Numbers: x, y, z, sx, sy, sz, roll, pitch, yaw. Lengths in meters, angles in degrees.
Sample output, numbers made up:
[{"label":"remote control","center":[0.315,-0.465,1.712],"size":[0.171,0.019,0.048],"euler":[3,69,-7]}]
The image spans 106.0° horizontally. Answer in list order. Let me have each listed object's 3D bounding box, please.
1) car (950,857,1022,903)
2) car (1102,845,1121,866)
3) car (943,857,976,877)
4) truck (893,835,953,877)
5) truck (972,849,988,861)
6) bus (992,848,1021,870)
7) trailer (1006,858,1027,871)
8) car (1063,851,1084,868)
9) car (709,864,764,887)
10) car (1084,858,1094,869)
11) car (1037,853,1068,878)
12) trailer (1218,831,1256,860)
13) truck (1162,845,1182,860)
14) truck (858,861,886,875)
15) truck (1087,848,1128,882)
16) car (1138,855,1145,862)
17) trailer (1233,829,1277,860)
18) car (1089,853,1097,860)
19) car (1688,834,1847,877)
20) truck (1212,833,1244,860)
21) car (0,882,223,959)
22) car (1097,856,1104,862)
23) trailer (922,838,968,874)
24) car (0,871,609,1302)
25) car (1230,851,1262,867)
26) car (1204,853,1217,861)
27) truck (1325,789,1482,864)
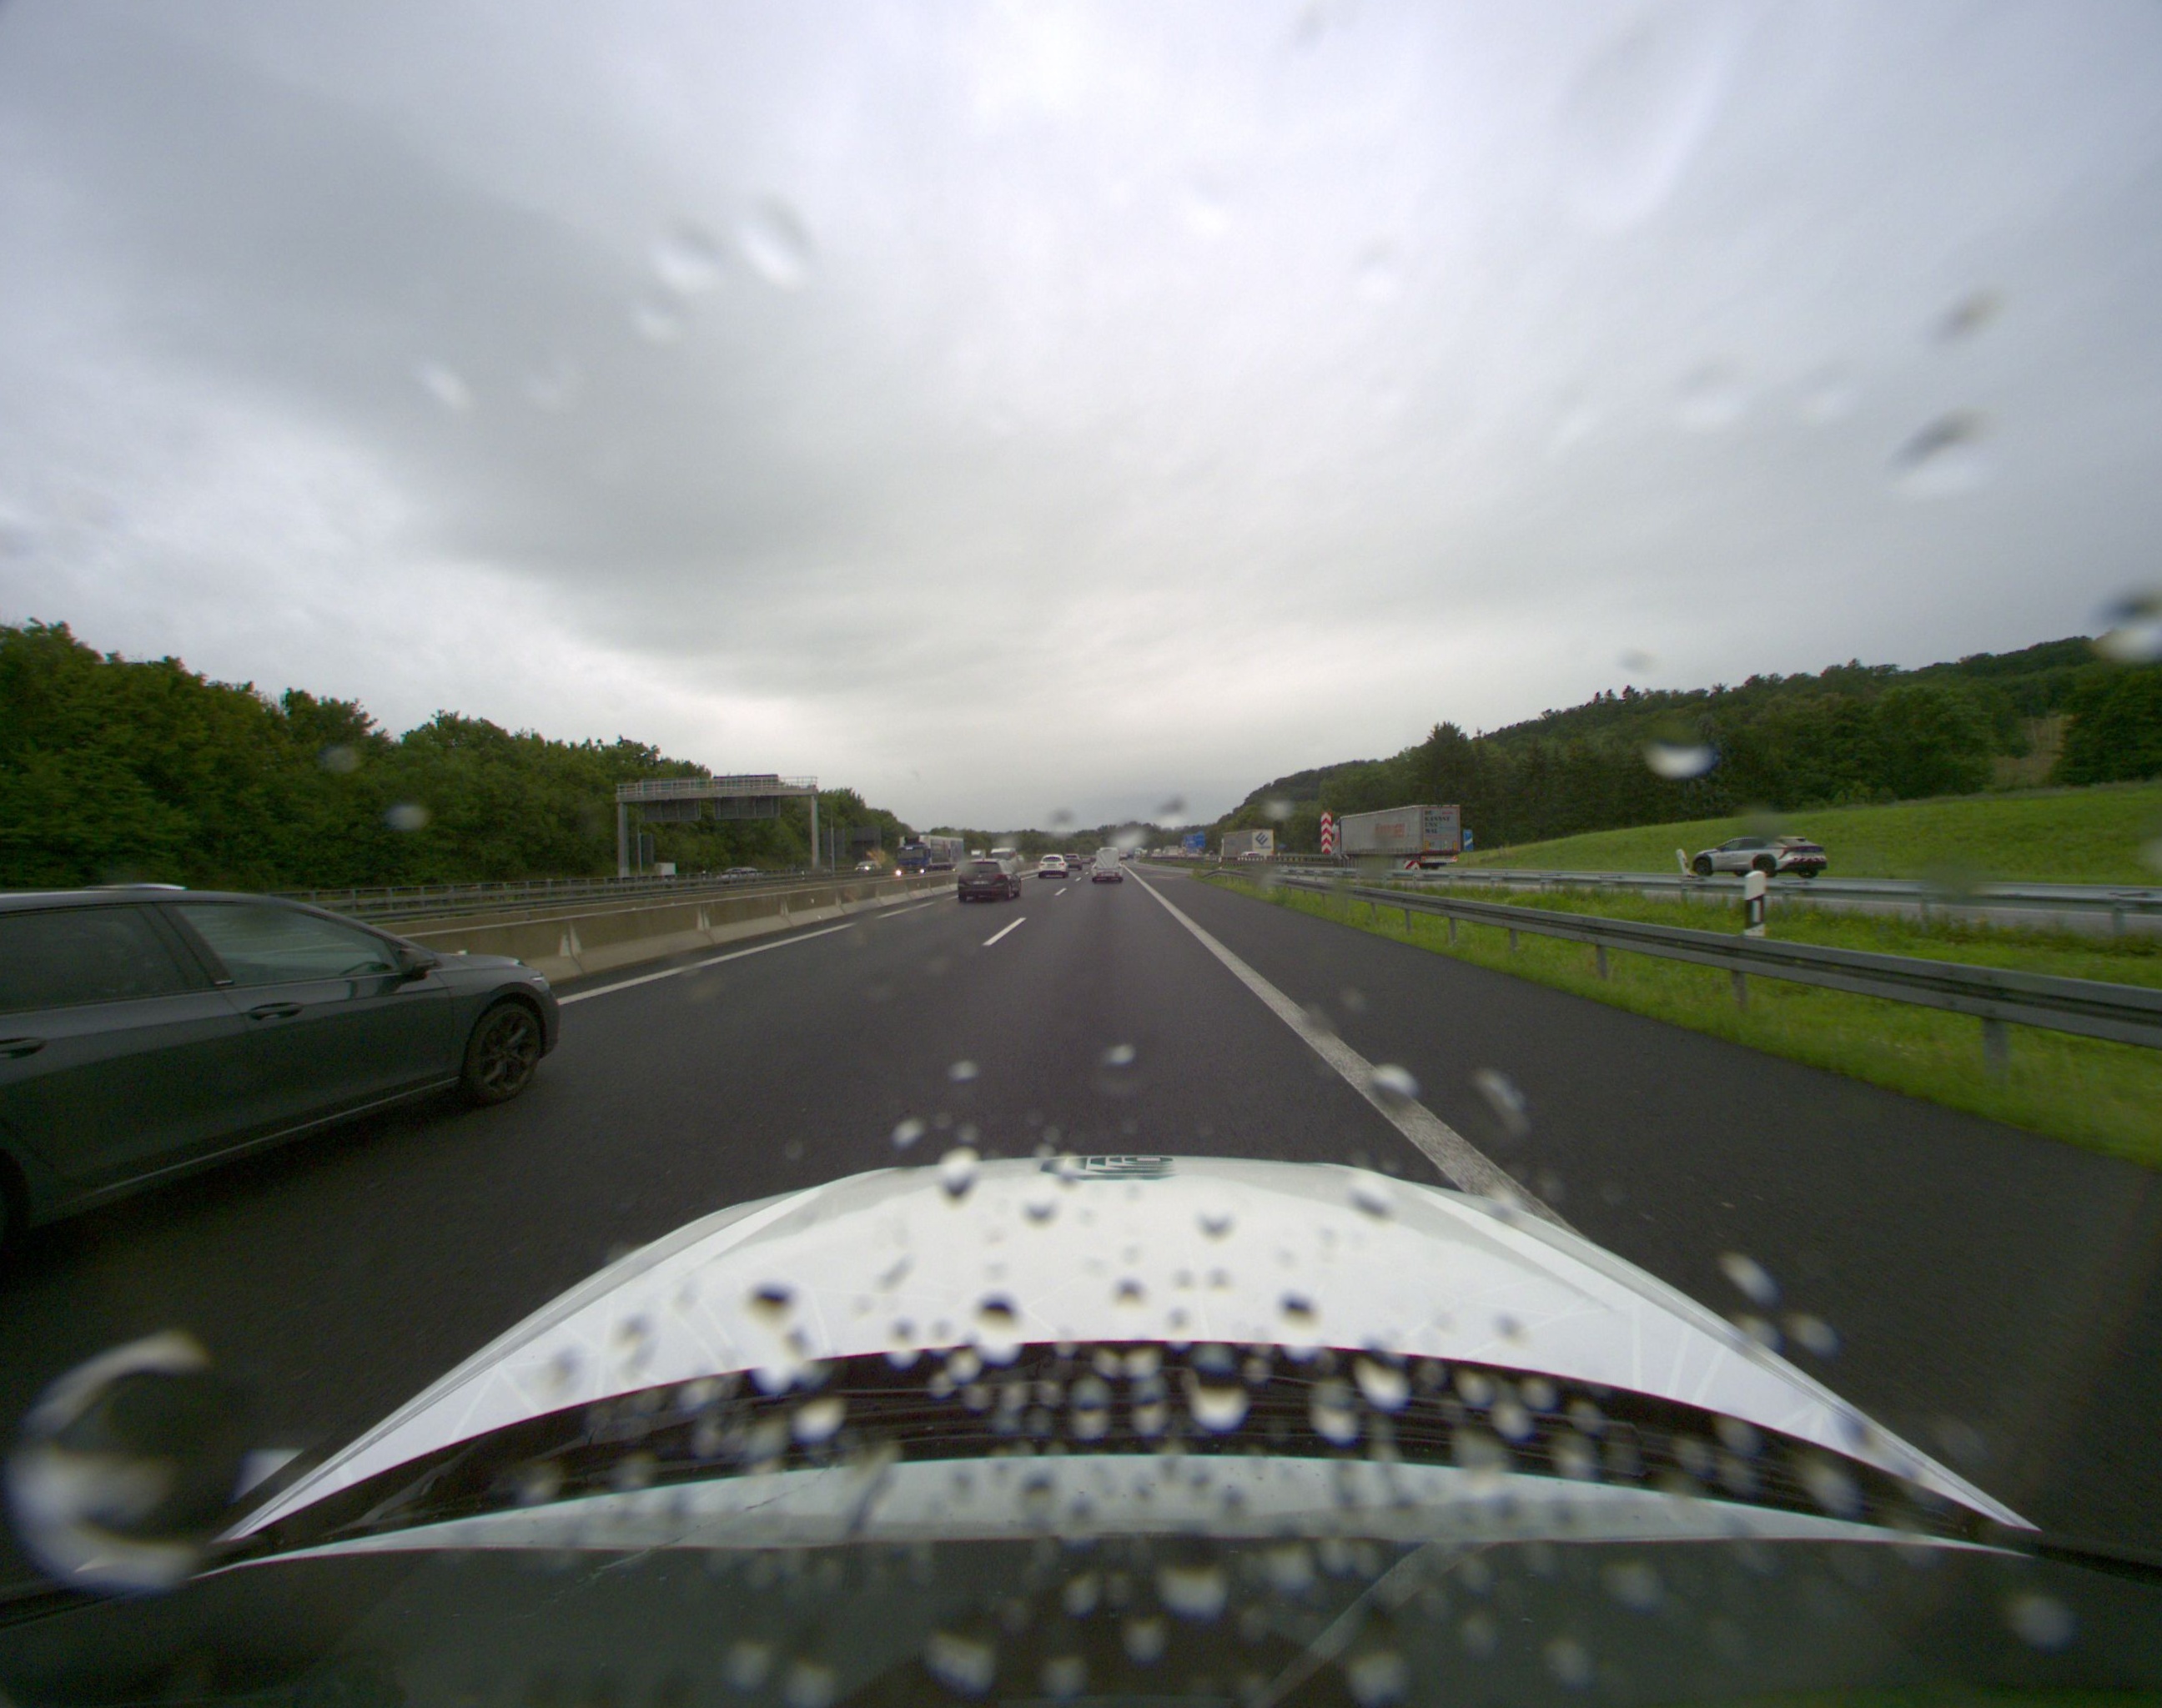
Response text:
[{"label":"car","center":[-3.292,0.857,29.090],"size":[1.780,1.459,4.806],"euler":[-1,0,3]},{"label":"car","center":[4.062,0.178,109.920],"size":[2.323,2.725,6.540],"euler":[-1,0,1]},{"label":"car","center":[-10.061,1.063,67.863],"size":[1.986,1.618,4.002],"euler":[0,0,2]},{"label":"truck","center":[-14.017,0.211,73.247],"size":[2.797,3.525,10.647],"euler":[0,0,2]},{"label":"truck","center":[-26.295,0.324,212.370],"size":[2.729,2.872,8.544],"euler":[-2,0,2]},{"label":"bus","center":[-9.018,0.646,99.154],"size":[2.531,2.586,8.274],"euler":[0,0,2]},{"label":"trailer","center":[-11.222,1.808,142.544],"size":[2.527,2.013,10.249],"euler":[-2,0,2]},{"label":"car","center":[-0.748,0.563,86.042],"size":[1.968,1.703,4.804],"euler":[-1,0,2]},{"label":"car","center":[-26.241,1.625,62.200],"size":[1.985,1.537,4.693],"euler":[-2,0,3]},{"label":"car","center":[1.475,1.648,144.881],"size":[1.732,1.794,4.002],"euler":[-1,0,2]},{"label":"car","center":[-2.060,0.783,57.830],"size":[2.044,1.670,4.534],"euler":[-1,0,-4]},{"label":"trailer","center":[20.065,-1.029,105.193],"size":[2.932,3.527,8.408],"euler":[0,0,-4]},{"label":"truck","center":[22.085,-0.377,197.495],"size":[3.815,3.659,8.266],"euler":[0,0,-2]},{"label":"truck","center":[-23.984,1.564,93.577],"size":[1.988,1.495,4.469],"euler":[-2,0,-1]},{"label":"truck","center":[1.555,0.624,47.474],"size":[2.233,1.839,6.587],"euler":[0,0,2]},{"label":"car","center":[15.289,1.156,207.354],"size":[1.639,1.574,4.002],"euler":[0,0,2]},{"label":"trailer","center":[20.608,-1.073,96.917],"size":[3.072,3.527,8.074],"euler":[0,0,-4]},{"label":"car","center":[2.769,0.536,183.984],"size":[1.639,1.574,4.002],"euler":[0,0,2]},{"label":"car","center":[26.324,0.054,31.513],"size":[1.815,1.504,5.028],"euler":[-2,0,-2]},{"label":"truck","center":[19.753,-1.020,109.891],"size":[2.932,3.527,5.920],"euler":[0,0,-3]},{"label":"car","center":[-27.213,1.750,22.532],"size":[1.986,1.737,4.583],"euler":[-2,0,1]},{"label":"car","center":[5.195,1.277,217.488],"size":[1.639,1.574,4.002],"euler":[0,0,2]},{"label":"trailer","center":[-13.648,0.224,82.553],"size":[2.931,3.516,8.056],"euler":[0,0,2]},{"label":"car","center":[-4.583,0.845,3.992],"size":[1.823,1.425,4.370],"euler":[-1,0,3]},{"label":"car","center":[16.998,0.539,84.205],"size":[1.990,1.616,5.071],"euler":[-2,0,-4]},{"label":"car","center":[21.126,0.505,133.122],"size":[1.691,1.288,3.535],"euler":[0,-1,1]},{"label":"truck","center":[22.159,-1.609,57.985],"size":[3.811,4.540,16.869],"euler":[-1,0,-2]}]
